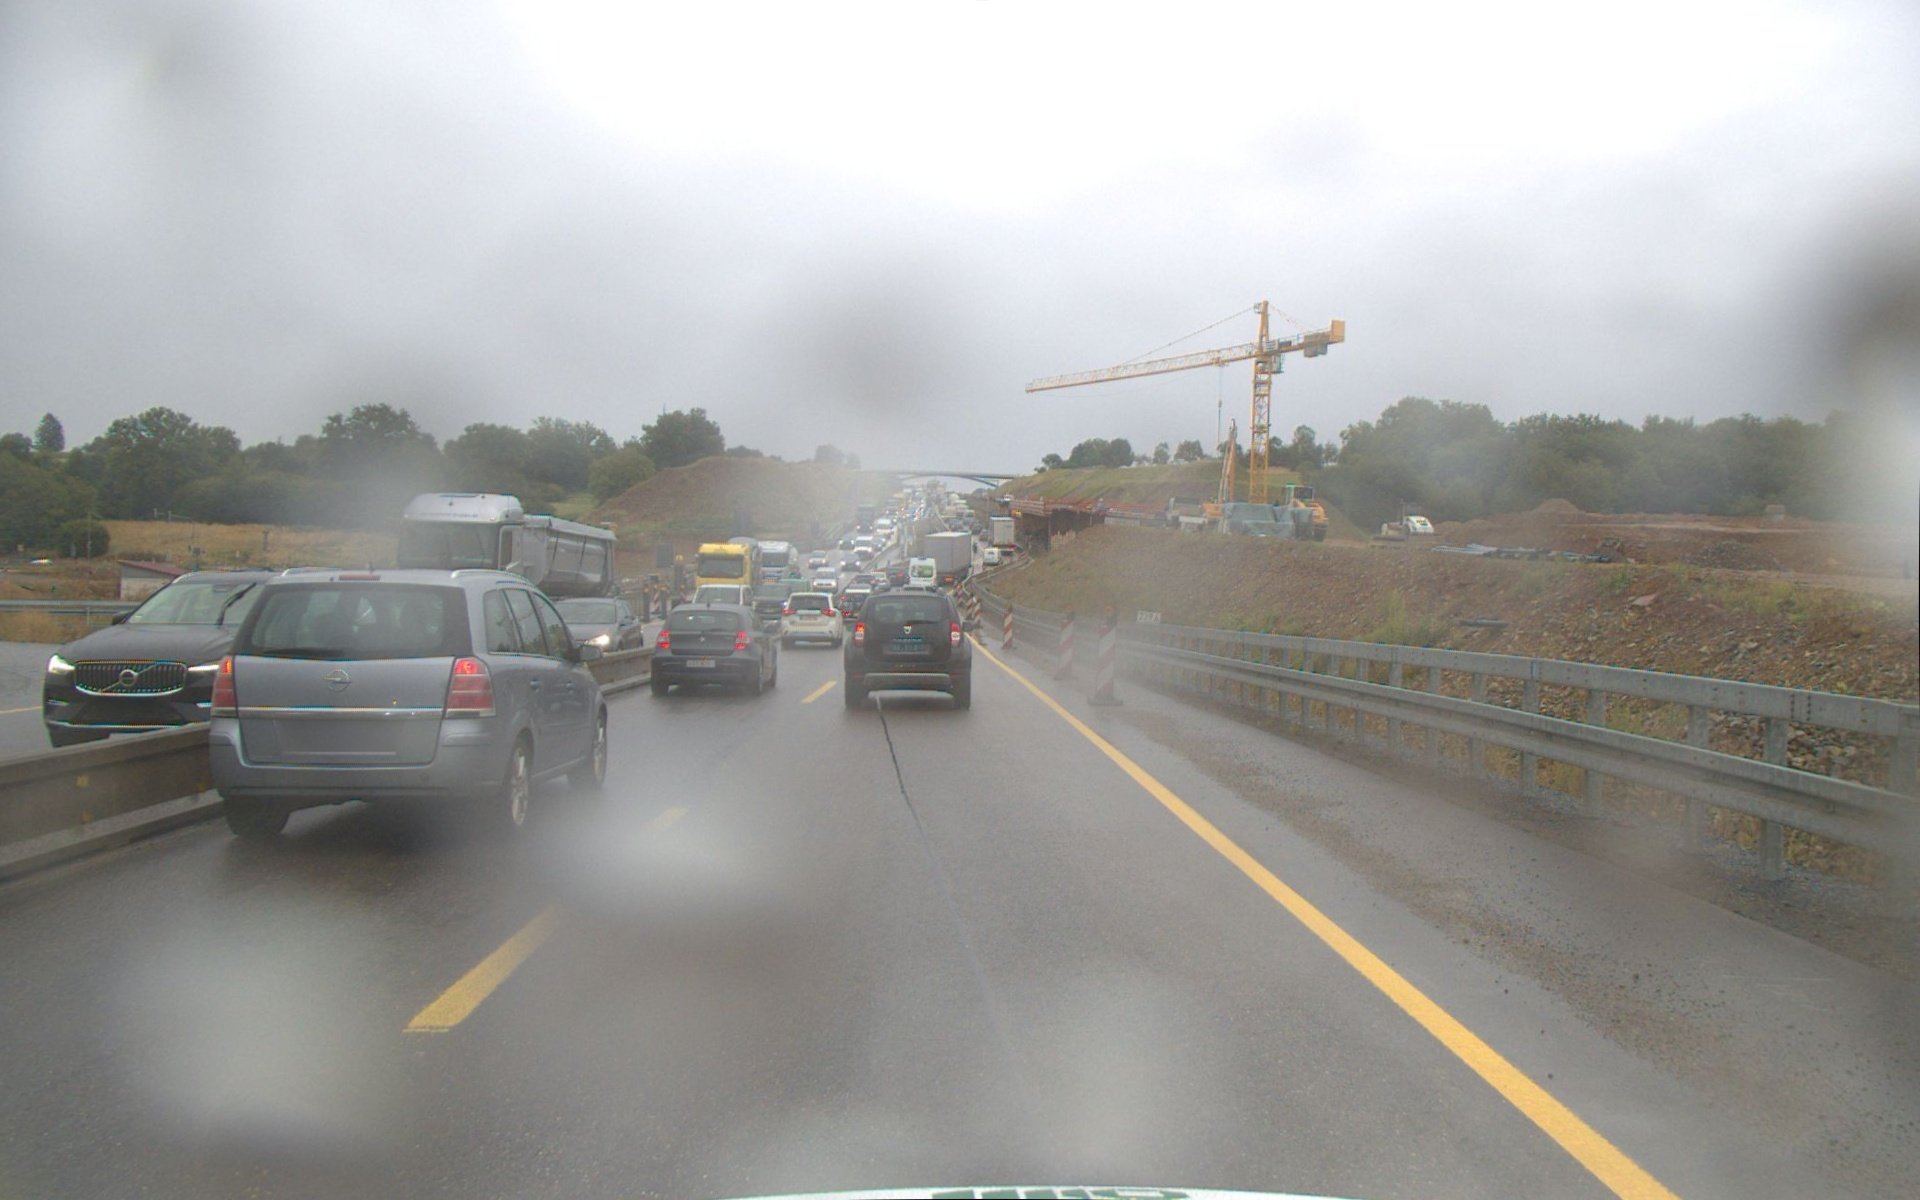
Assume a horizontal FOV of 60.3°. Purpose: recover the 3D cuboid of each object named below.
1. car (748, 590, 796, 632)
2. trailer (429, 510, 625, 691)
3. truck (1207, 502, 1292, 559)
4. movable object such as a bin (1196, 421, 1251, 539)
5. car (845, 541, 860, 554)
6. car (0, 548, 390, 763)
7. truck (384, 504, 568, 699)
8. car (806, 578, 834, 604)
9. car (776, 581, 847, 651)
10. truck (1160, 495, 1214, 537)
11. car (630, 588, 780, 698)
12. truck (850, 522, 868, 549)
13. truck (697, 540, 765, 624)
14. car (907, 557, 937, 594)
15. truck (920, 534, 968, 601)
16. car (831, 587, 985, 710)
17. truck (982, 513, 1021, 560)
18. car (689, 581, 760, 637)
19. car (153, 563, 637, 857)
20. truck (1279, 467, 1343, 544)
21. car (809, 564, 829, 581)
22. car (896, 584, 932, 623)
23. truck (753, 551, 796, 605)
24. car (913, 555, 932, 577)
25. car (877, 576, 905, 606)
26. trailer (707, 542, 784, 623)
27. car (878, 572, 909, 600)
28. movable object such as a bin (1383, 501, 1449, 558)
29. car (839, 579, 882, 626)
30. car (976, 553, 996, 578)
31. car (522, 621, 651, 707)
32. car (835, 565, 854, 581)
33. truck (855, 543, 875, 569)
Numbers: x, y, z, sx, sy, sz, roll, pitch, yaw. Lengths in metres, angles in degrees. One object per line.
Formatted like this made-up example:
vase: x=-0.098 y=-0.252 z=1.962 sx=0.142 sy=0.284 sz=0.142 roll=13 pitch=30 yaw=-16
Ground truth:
car: x=-8.469 y=0.470 z=74.844 sx=1.751 sy=1.837 sz=5.188 roll=0 pitch=0 yaw=-2
trailer: x=-10.672 y=-0.006 z=41.865 sx=2.631 sy=4.033 sz=9.816 roll=0 pitch=0 yaw=-2
truck: x=16.702 y=-3.957 z=96.209 sx=3.326 sy=2.925 sz=8.959 roll=1 pitch=0 yaw=0
movable object such as a bin: x=26.410 y=-11.808 z=165.347 sx=4.618 sy=11.031 sz=10.312 roll=1 pitch=0 yaw=13
car: x=-13.221 y=-6.481 z=203.382 sx=1.751 sy=1.565 sz=4.310 roll=1 pitch=1 yaw=-2
car: x=-6.980 y=0.429 z=15.311 sx=1.953 sy=1.684 sz=4.468 roll=-1 pitch=0 yaw=-2
truck: x=-10.538 y=0.020 z=36.524 sx=2.632 sy=3.995 sz=5.272 roll=0 pitch=0 yaw=-2
car: x=-10.224 y=-0.677 z=121.053 sx=1.828 sy=1.831 sz=4.161 roll=1 pitch=0 yaw=-2
car: x=-4.555 y=0.475 z=51.125 sx=1.953 sy=2.049 sz=3.892 roll=1 pitch=0 yaw=-2
truck: x=16.086 y=-5.916 z=117.794 sx=2.592 sy=2.599 sz=6.981 roll=1 pitch=0 yaw=-2
car: x=-4.031 y=0.638 z=26.785 sx=1.954 sy=1.628 sz=4.138 roll=1 pitch=0 yaw=-3
truck: x=-15.557 y=-9.945 z=255.961 sx=2.589 sy=4.038 sz=9.211 roll=1 pitch=3 yaw=-3
truck: x=-11.681 y=-0.905 z=84.759 sx=2.694 sy=4.133 sz=6.146 roll=1 pitch=0 yaw=-2
car: x=-2.683 y=-1.729 z=118.841 sx=1.952 sy=2.527 sz=4.982 roll=1 pitch=0 yaw=0
truck: x=-1.299 y=-2.691 z=141.447 sx=3.036 sy=5.521 sz=9.449 roll=1 pitch=0 yaw=6
car: x=-0.729 y=0.648 z=24.302 sx=2.039 sy=1.628 sz=4.140 roll=1 pitch=0 yaw=-1
truck: x=4.936 y=-7.591 z=199.851 sx=3.727 sy=5.130 sz=12.916 roll=1 pitch=0 yaw=-2
car: x=-8.026 y=0.299 z=56.788 sx=1.837 sy=1.824 sz=5.357 roll=0 pitch=0 yaw=-2
car: x=-3.589 y=0.619 z=11.406 sx=1.953 sy=1.628 sz=4.140 roll=1 pitch=0 yaw=-1
truck: x=21.123 y=-5.610 z=99.840 sx=2.325 sy=4.292 sz=5.977 roll=1 pitch=0 yaw=-2
car: x=-13.943 y=-2.740 z=163.724 sx=1.752 sy=1.573 sz=3.999 roll=1 pitch=1 yaw=-2
car: x=-2.652 y=0.206 z=95.625 sx=1.953 sy=2.200 sz=4.140 roll=1 pitch=0 yaw=-1
truck: x=-13.345 y=-1.571 z=119.662 sx=2.568 sy=3.742 sz=6.592 roll=1 pitch=0 yaw=-2
car: x=-3.858 y=-3.490 z=169.865 sx=1.953 sy=2.200 sz=4.139 roll=1 pitch=0 yaw=-1
car: x=-5.242 y=-0.646 z=125.425 sx=1.953 sy=2.200 sz=4.140 roll=1 pitch=0 yaw=-1
trailer: x=-11.881 y=-0.910 z=92.953 sx=2.694 sy=4.113 sz=15.354 roll=1 pitch=0 yaw=-2
car: x=-5.464 y=-1.152 z=136.620 sx=1.951 sy=2.200 sz=4.143 roll=1 pitch=0 yaw=5
movable object such as a bin: x=31.747 y=-4.881 z=115.477 sx=2.295 sy=3.662 sz=6.554 roll=1 pitch=0 yaw=-5
car: x=-4.846 y=0.096 z=80.152 sx=1.954 sy=2.200 sz=4.136 roll=1 pitch=0 yaw=-5
car: x=2.708 y=-3.585 z=173.553 sx=1.953 sy=2.527 sz=4.740 roll=1 pitch=0 yaw=-1
car: x=-7.169 y=1.192 z=32.104 sx=1.675 sy=1.479 sz=3.999 roll=1 pitch=0 yaw=-2
car: x=-11.234 y=-2.665 z=161.225 sx=1.737 sy=1.531 sz=4.677 roll=1 pitch=1 yaw=-2
truck: x=-10.445 y=-4.822 z=182.054 sx=2.037 sy=2.621 sz=5.959 roll=1 pitch=0 yaw=-2
